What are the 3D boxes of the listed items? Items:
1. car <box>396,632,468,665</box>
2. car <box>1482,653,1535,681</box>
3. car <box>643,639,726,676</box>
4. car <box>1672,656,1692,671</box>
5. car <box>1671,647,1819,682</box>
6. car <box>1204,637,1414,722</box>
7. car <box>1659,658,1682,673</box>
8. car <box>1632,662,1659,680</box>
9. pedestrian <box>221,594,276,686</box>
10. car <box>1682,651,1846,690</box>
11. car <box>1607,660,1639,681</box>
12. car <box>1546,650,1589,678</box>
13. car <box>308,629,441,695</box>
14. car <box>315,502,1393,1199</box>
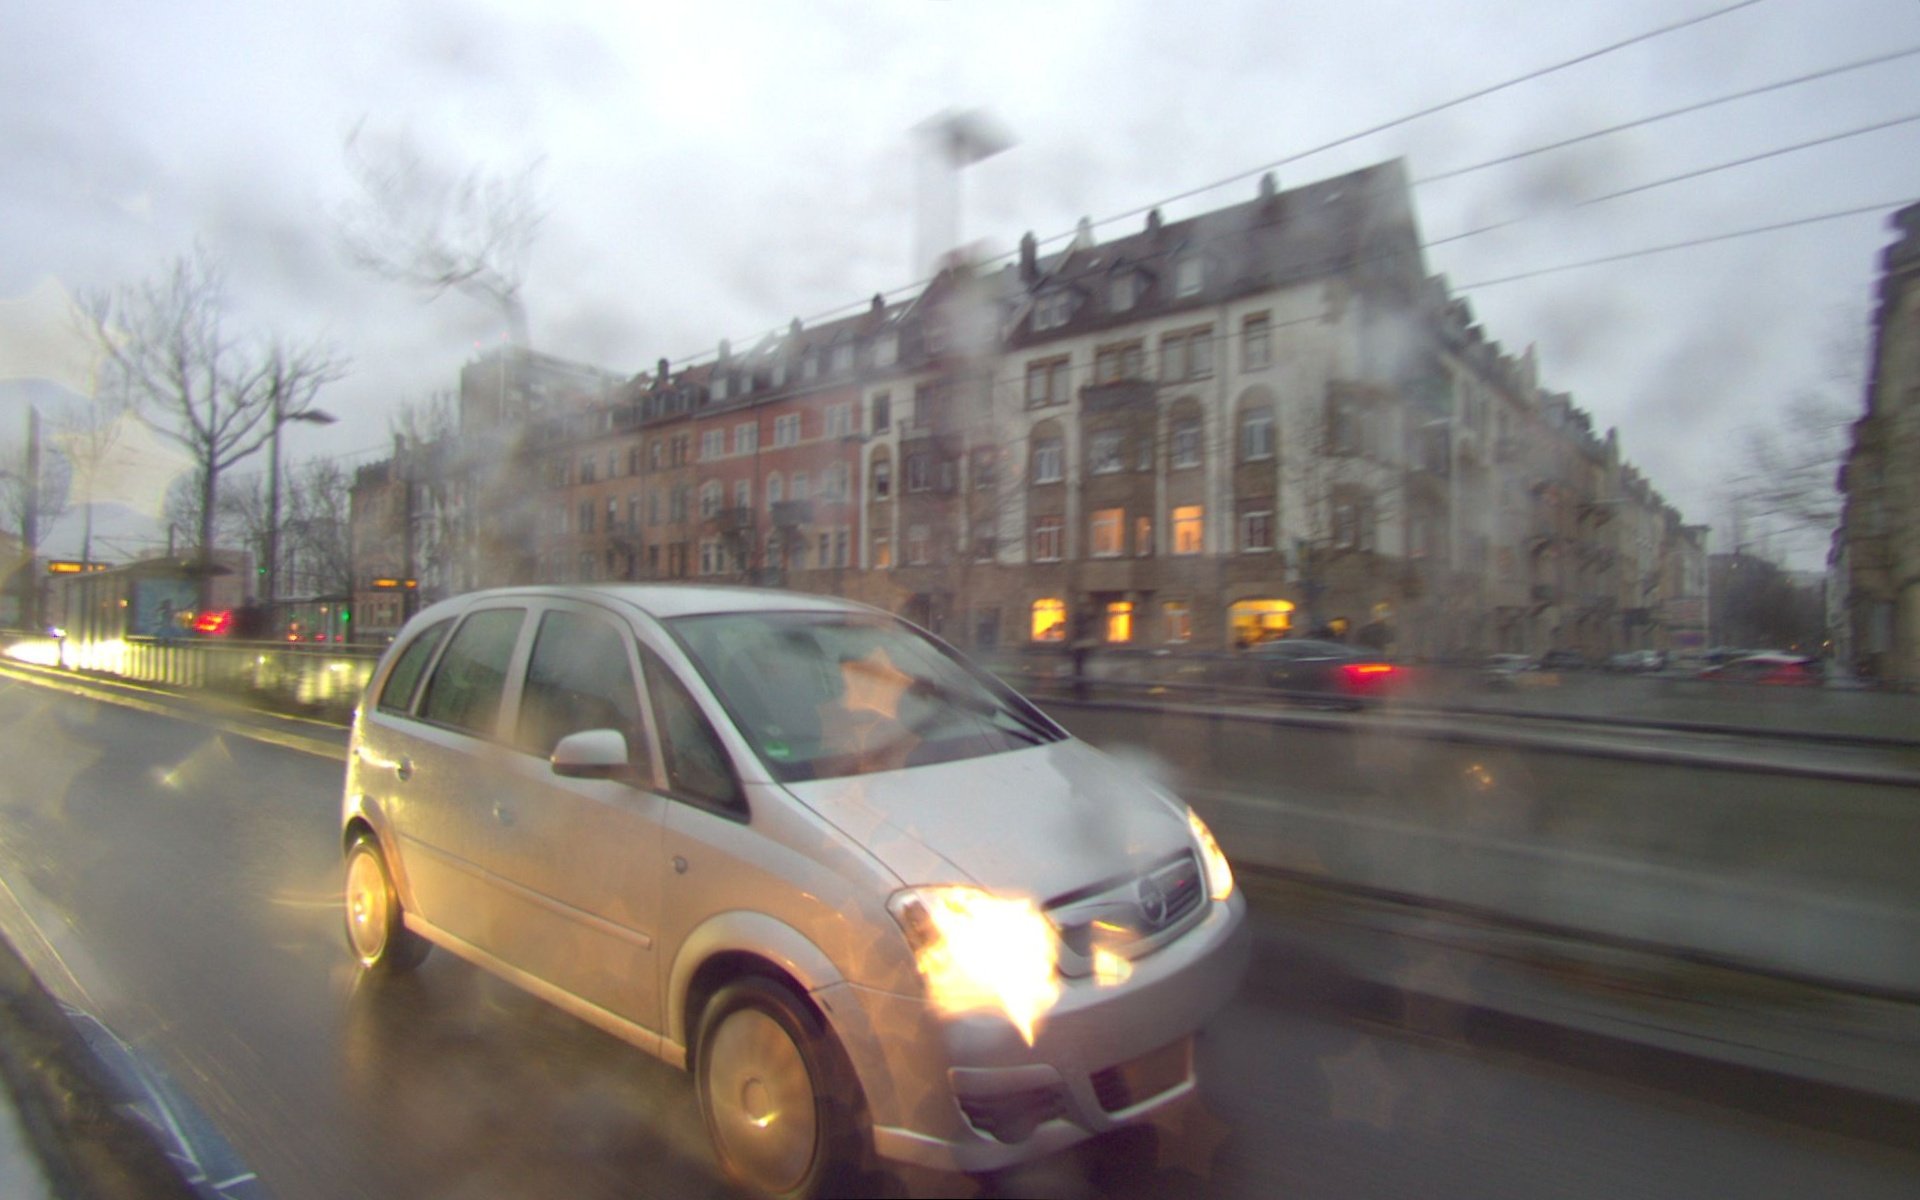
[{"bbox_3d":[-25.934,2.384,49.641,3.744,1.546,1.662,-1,-4,38],"label":"car"},{"bbox_3d":[22.325,2.722,41.160,1.330,1.083,2.860,-1,-4,40],"label":"car"},{"bbox_3d":[-11.052,2.293,40.492,3.258,1.418,1.661,-1,-4,41],"label":"car"},{"bbox_3d":[69.133,6.074,96.855,1.330,1.298,2.860,-1,-4,40],"label":"car"},{"bbox_3d":[29.528,2.408,38.207,1.838,1.221,4.013,2,-3,-25],"label":"car"},{"bbox_3d":[7.694,1.691,22.490,3.998,1.650,1.845,-1,-1,41],"label":"car"},{"bbox_3d":[62.090,5.692,88.405,1.330,1.298,2.860,-1,-4,40],"label":"car"},{"bbox_3d":[50.988,5.246,75.262,1.330,1.298,2.860,-1,-4,40],"label":"car"},{"bbox_3d":[-16.086,0.916,22.881,0.864,2.029,0.932,4,-4,-38],"label":"pedestrian"},{"bbox_3d":[27.601,2.391,34.879,1.838,1.221,4.013,2,-3,-25],"label":"car"},{"bbox_3d":[42.349,4.509,64.602,1.330,1.298,2.860,-1,-4,40],"label":"car"},{"bbox_3d":[29.702,3.114,49.451,1.330,1.298,2.860,-1,-4,40],"label":"car"},{"bbox_3d":[-14.651,1.508,25.239,3.998,1.497,1.646,-1,-4,41],"label":"car"},{"bbox_3d":[-0.767,0.680,3.814,4.052,1.612,1.790,-1,-2,42],"label":"car"}]
